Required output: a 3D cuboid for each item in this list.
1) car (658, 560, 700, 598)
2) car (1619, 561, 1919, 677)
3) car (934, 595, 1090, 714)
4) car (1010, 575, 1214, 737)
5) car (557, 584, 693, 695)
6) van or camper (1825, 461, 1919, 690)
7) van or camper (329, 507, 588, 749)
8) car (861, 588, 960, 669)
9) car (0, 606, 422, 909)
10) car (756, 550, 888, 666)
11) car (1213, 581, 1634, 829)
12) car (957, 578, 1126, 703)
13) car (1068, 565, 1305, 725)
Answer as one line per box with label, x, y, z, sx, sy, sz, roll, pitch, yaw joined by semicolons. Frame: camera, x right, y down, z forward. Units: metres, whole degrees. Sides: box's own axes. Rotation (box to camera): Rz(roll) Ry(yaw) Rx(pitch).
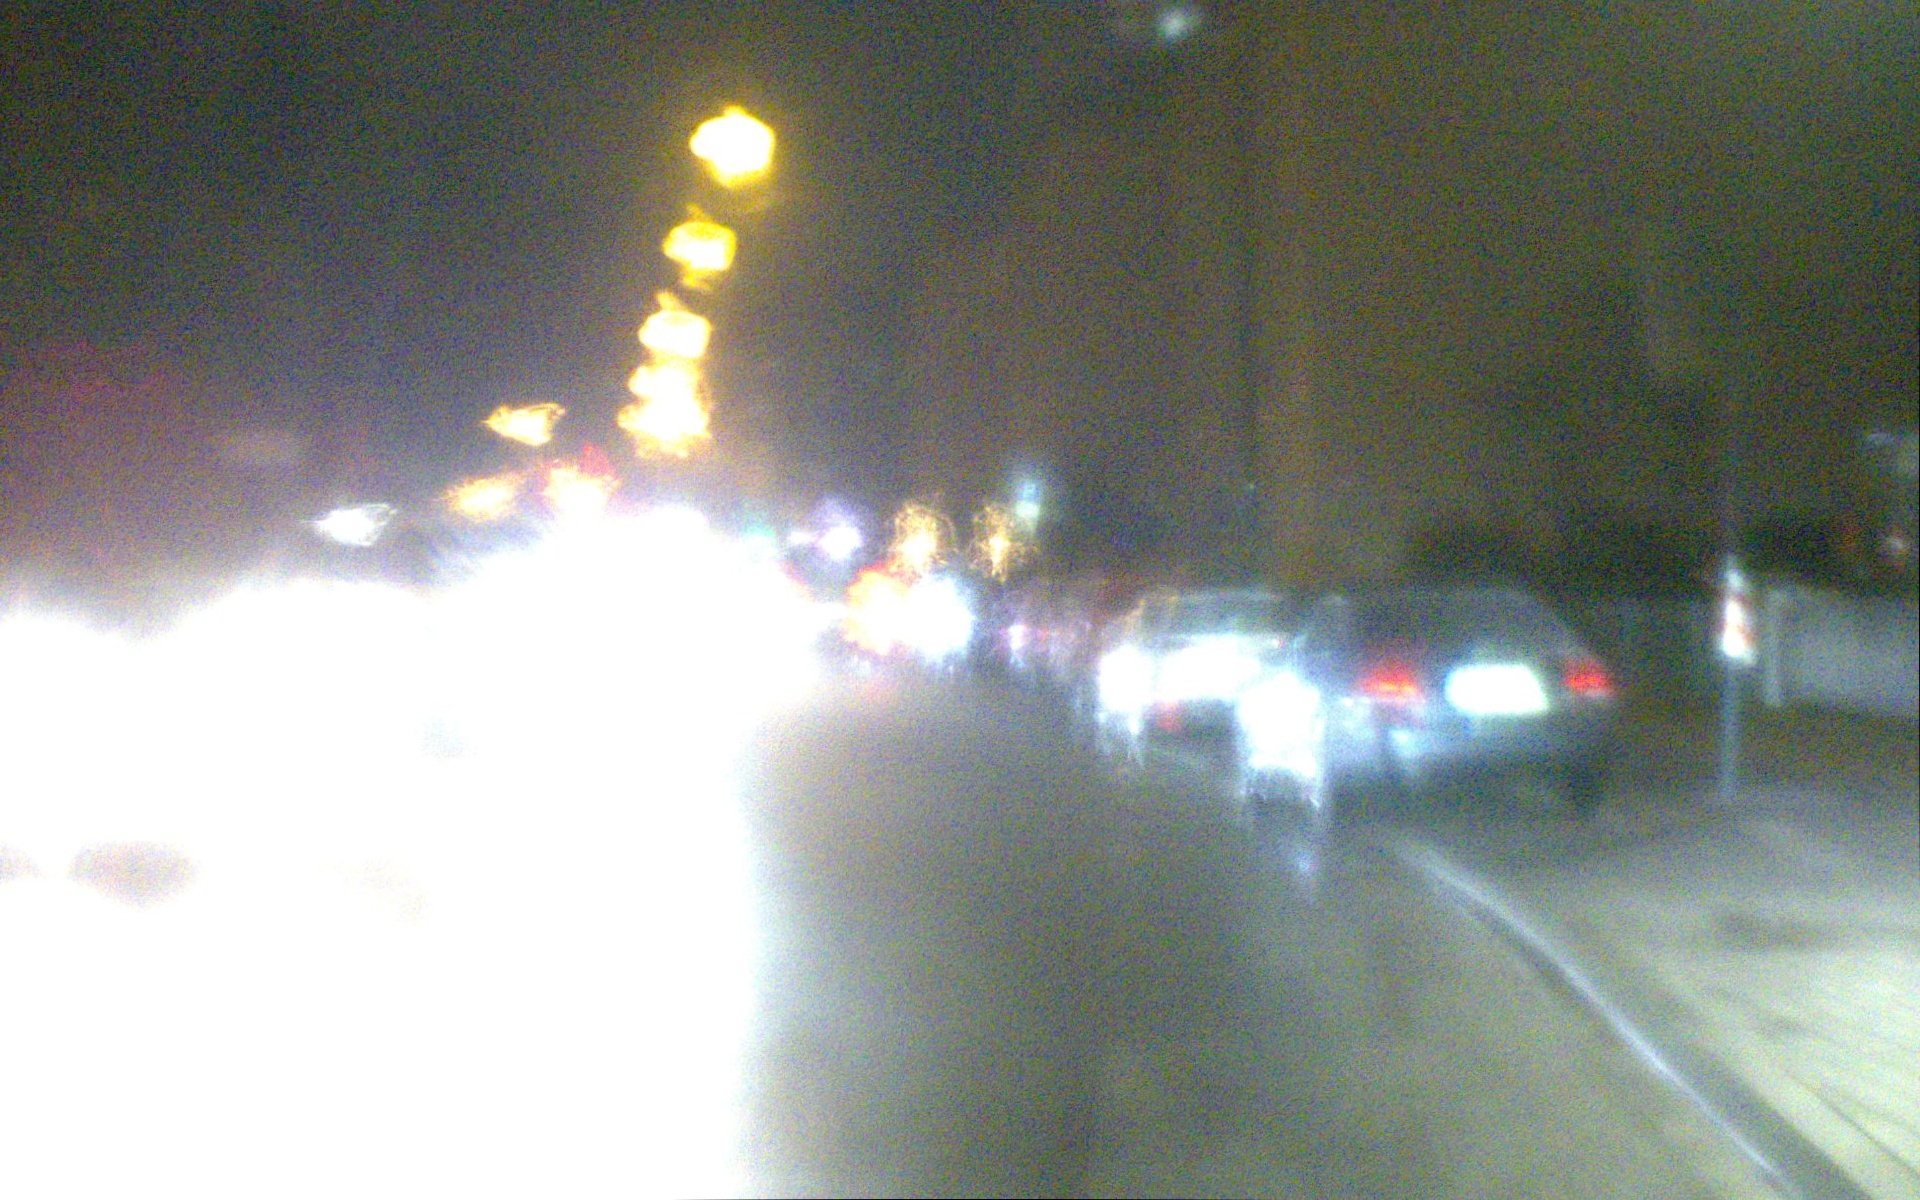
car;-12.914;-0.974;157.912;1.812;1.704;3.804;-1;1;-6
car;11.076;0.240;46.334;3.986;1.515;1.686;0;1;-5
car;0.732;0.775;51.513;1.880;1.567;4.529;-2;1;-4
car;1.729;0.611;40.384;1.712;1.702;4.188;-2;1;-6
car;-4.843;0.539;50.137;1.796;1.456;4.579;2;0;-4
van or camper;12.607;-0.286;38.897;5.062;2.518;2.171;0;1;-1
van or camper;-4.620;0.230;32.318;1.870;2.096;4.943;0;0;-2
car;-1.006;0.534;67.548;1.628;1.461;4.511;-1;1;-5
car;-4.065;0.767;18.587;1.745;1.428;4.000;-1;0;-1
car;-2.242;0.099;54.771;1.993;1.678;4.001;0;2;-4
car;3.020;0.628;23.443;1.789;1.444;4.791;-2;1;-5
car;1.056;0.512;46.350;1.754;1.523;4.154;-2;1;-5
car;2.203;0.420;34.562;1.712;1.484;4.437;-1;0;-5
